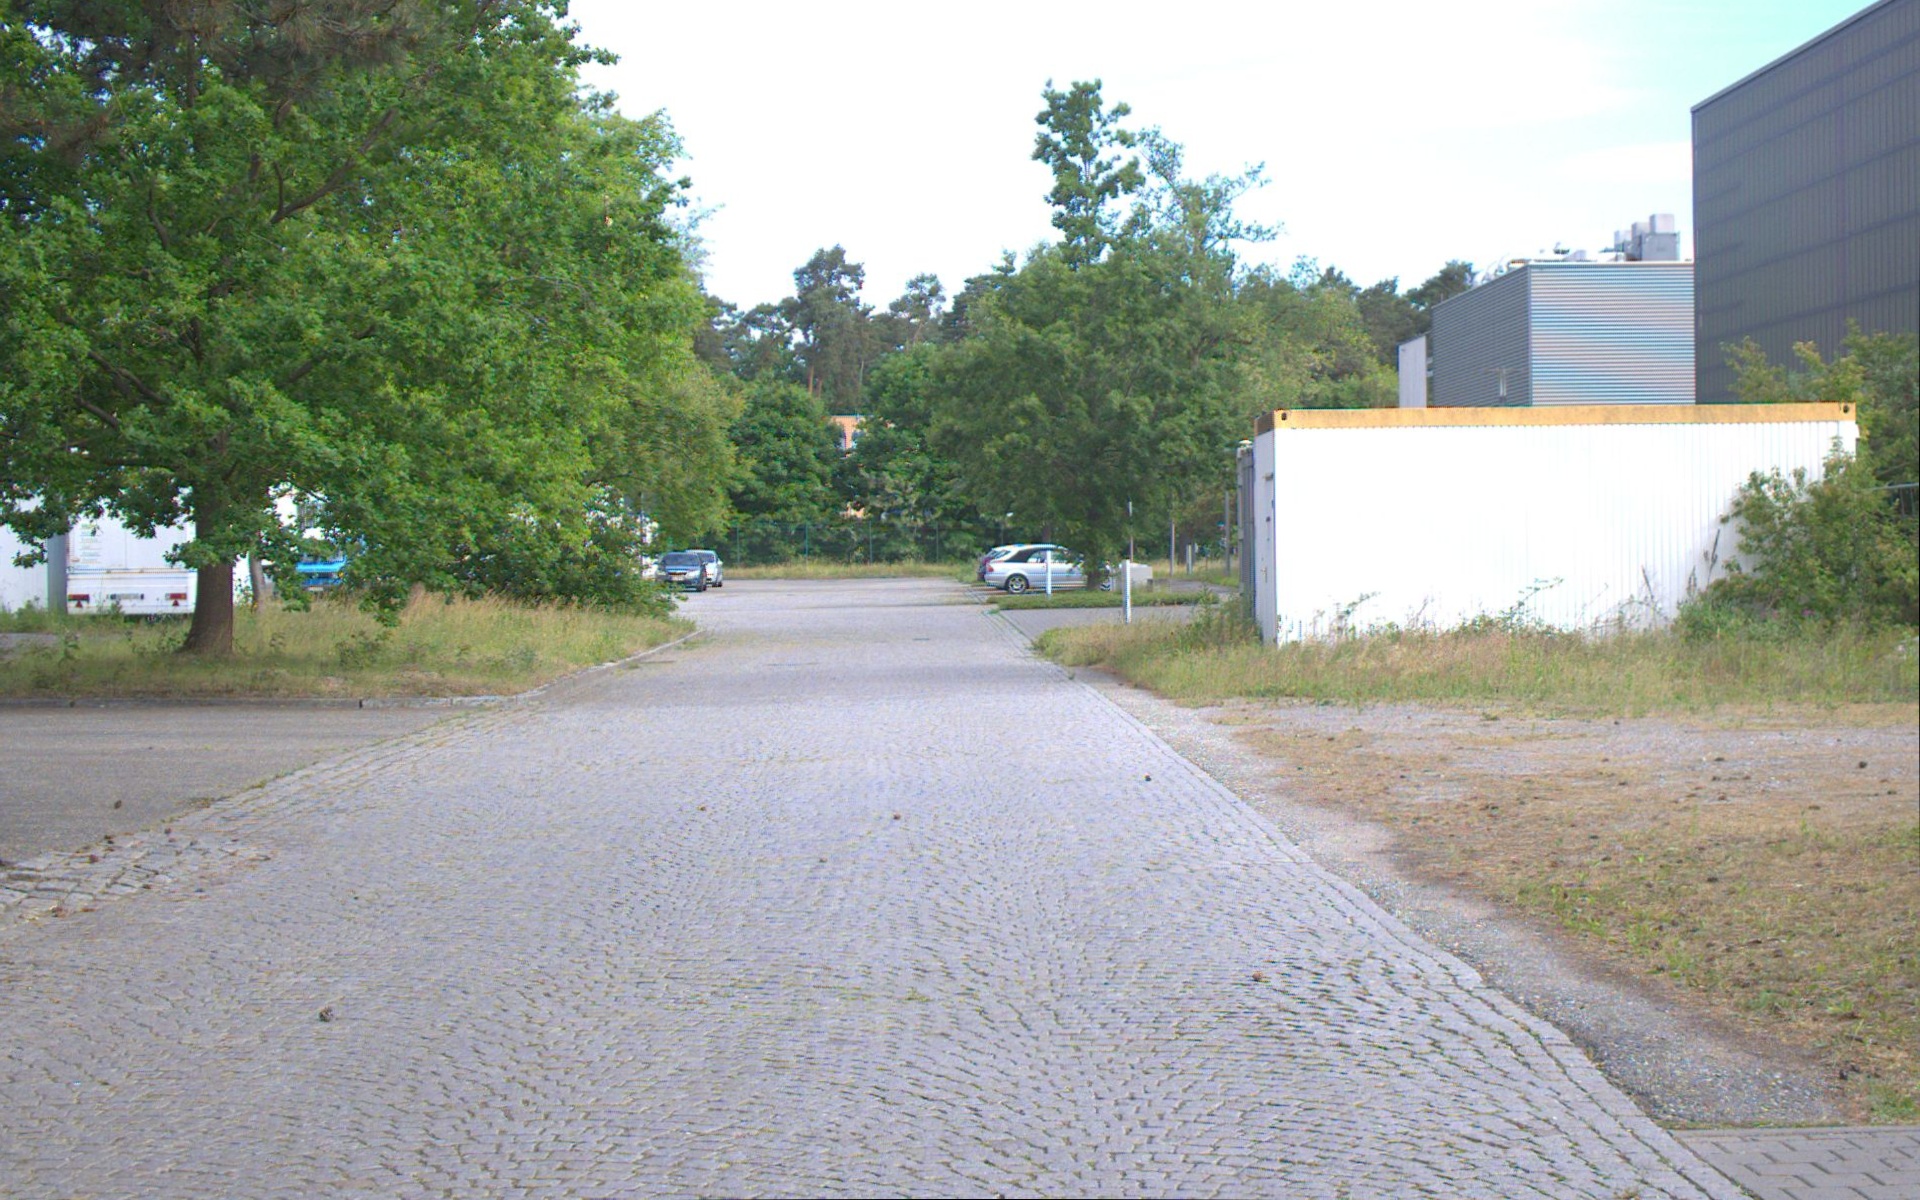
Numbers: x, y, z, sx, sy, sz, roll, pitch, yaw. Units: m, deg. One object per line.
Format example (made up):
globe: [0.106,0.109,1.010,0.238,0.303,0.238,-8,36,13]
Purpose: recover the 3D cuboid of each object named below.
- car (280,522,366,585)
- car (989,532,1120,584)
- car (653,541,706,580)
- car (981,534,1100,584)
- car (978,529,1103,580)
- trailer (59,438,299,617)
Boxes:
car: [-21.153,-1.557,114.358,1.993,2.007,4.767,0,1,0]
car: [2.951,-1.312,107.708,3.984,1.443,1.653,-3,1,0]
car: [-10.303,-1.468,126.474,1.647,1.364,3.998,-1,1,-1]
car: [2.450,-1.271,105.010,3.522,1.357,1.622,-3,1,0]
car: [2.624,-1.507,112.836,3.984,1.470,1.653,-3,1,0]
trailer: [-16.758,-1.564,74.563,2.625,3.585,10.177,-1,1,1]
